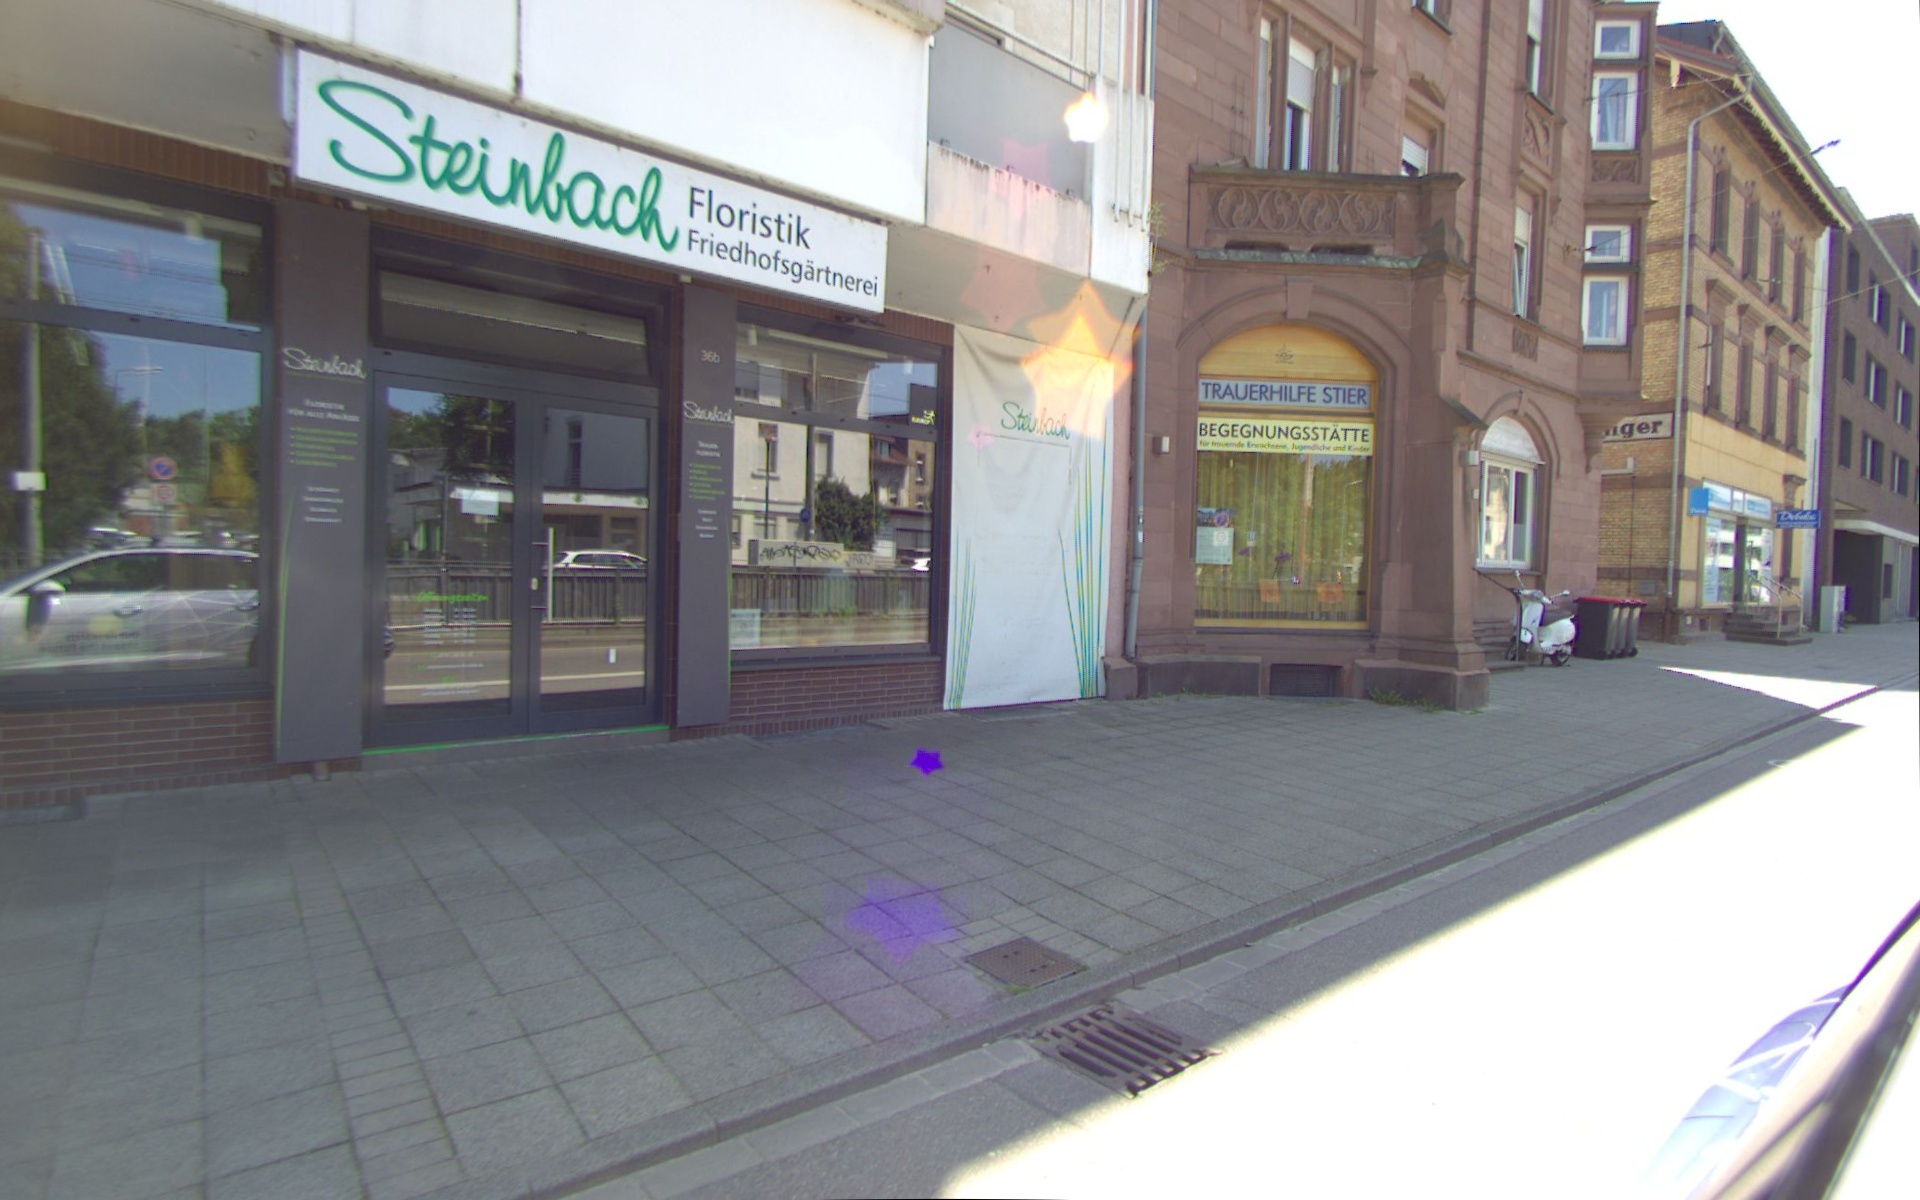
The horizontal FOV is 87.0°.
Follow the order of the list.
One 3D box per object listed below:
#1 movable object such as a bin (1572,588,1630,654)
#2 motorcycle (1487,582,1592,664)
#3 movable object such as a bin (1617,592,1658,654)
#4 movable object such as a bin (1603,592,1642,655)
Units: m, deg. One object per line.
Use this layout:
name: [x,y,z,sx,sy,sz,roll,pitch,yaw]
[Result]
movable object such as a bin: [11.048,0.354,17.443,0.549,1.060,0.649,0,4,-40]
motorcycle: [8.721,0.329,15.197,1.843,1.163,0.529,0,2,-32]
movable object such as a bin: [12.101,0.408,18.066,0.646,1.060,0.376,0,4,-41]
movable object such as a bin: [11.583,0.402,17.692,0.549,1.060,0.376,0,4,-40]
